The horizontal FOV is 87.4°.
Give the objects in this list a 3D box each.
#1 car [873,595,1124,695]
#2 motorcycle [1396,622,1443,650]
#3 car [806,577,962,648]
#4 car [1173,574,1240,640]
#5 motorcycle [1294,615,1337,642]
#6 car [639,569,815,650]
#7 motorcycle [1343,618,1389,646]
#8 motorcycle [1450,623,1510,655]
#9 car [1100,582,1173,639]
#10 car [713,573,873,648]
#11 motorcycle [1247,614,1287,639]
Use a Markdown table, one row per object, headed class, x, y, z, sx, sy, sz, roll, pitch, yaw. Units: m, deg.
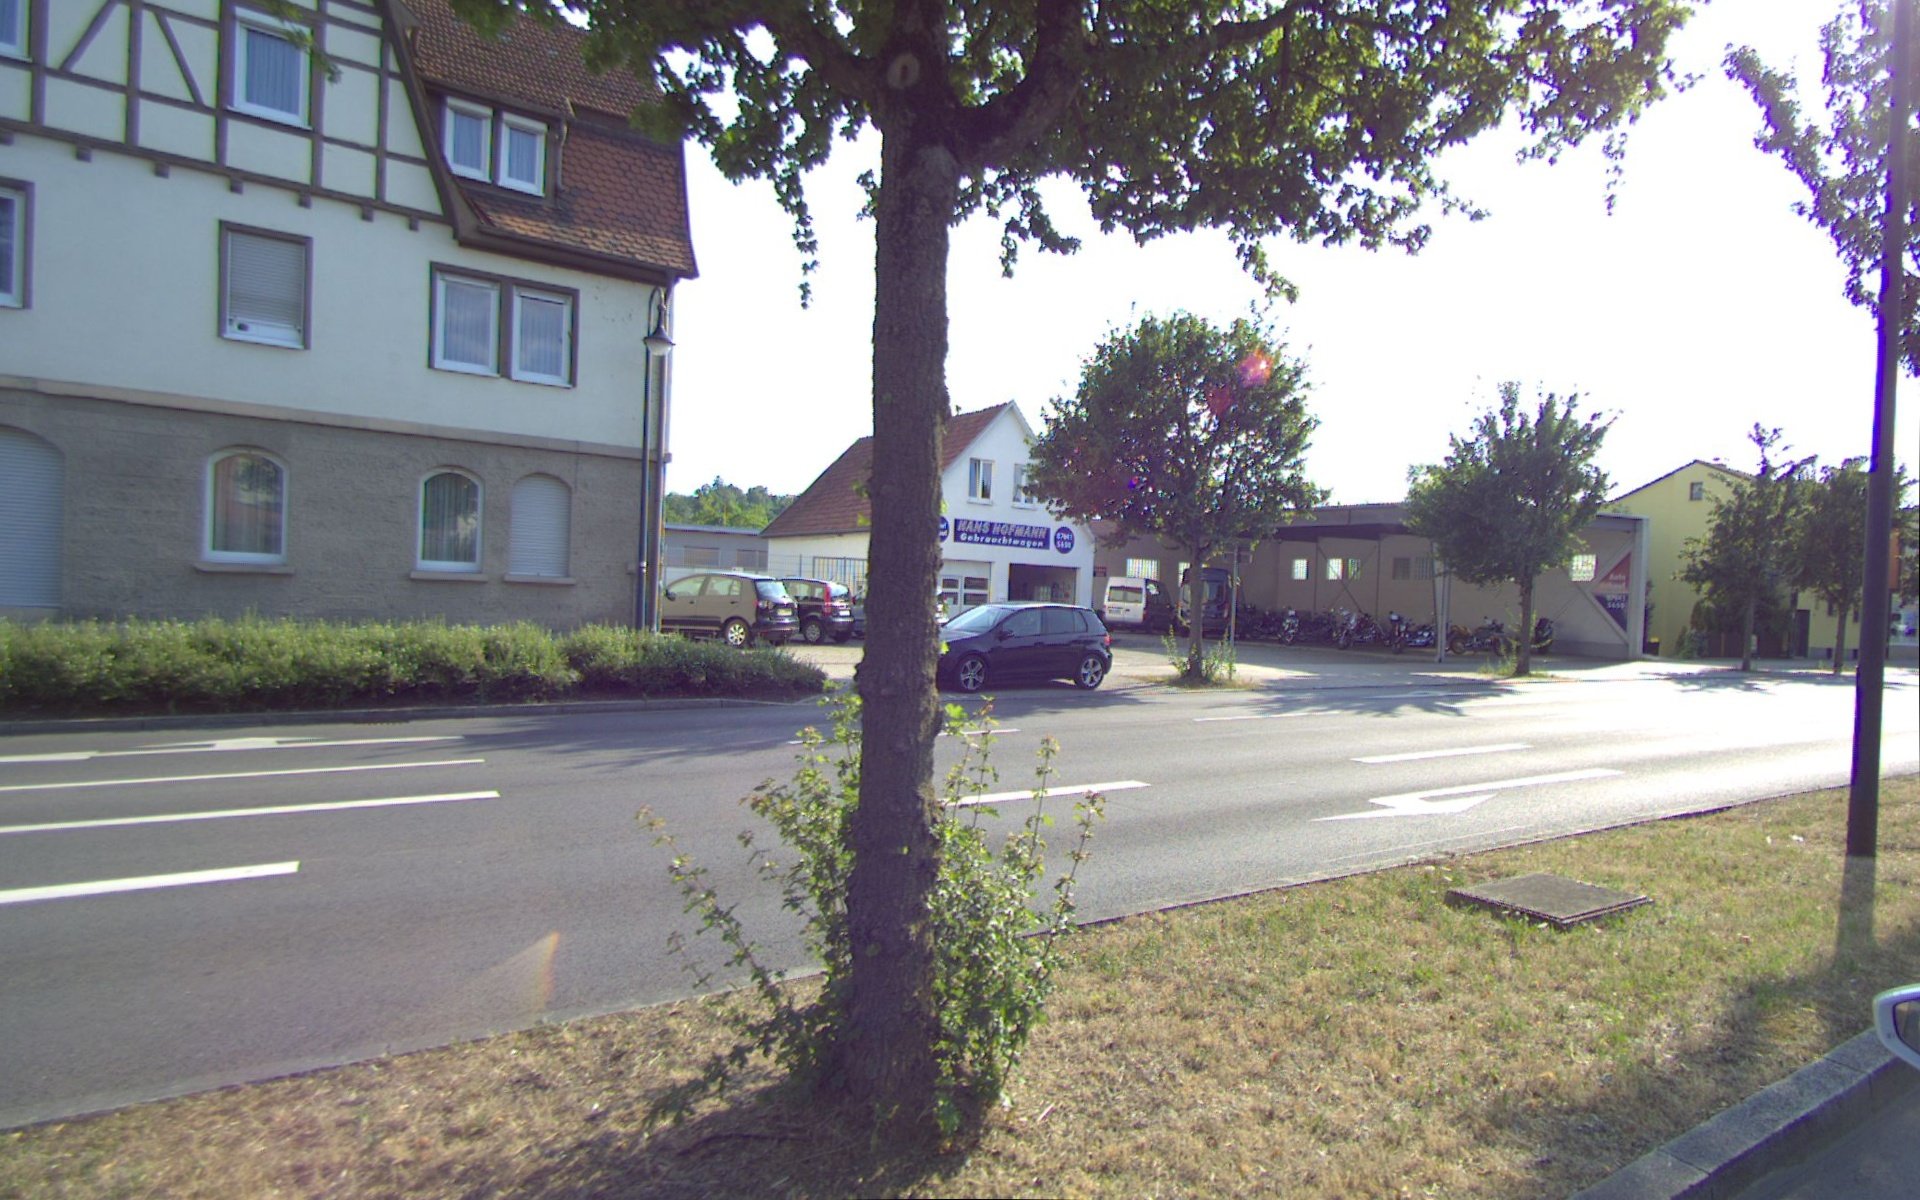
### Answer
| class | x | y | z | sx | sy | sz | roll | pitch | yaw |
| --- | --- | --- | --- | --- | --- | --- | --- | --- | --- |
| car | 0.714 | 0.751 | 17.720 | 4.086 | 1.474 | 1.746 | 1 | 4 | -31 |
| motorcycle | 17.371 | 1.375 | 37.993 | 1.512 | 1.018 | 0.517 | 1 | 0 | -1 |
| car | -2.006 | 0.272 | 26.493 | 3.610 | 1.497 | 1.823 | 5 | 4 | 23 |
| car | 10.032 | 0.194 | 40.632 | 2.003 | 2.367 | 4.318 | 4 | 4 | 20 |
| motorcycle | 15.015 | 1.195 | 42.413 | 1.604 | 1.121 | 0.517 | 1 | 0 | 1 |
| car | -5.231 | 0.178 | 22.417 | 3.618 | 1.548 | 1.819 | 4 | 1 | 34 |
| motorcycle | 16.293 | 1.289 | 40.327 | 1.604 | 1.083 | 0.517 | 1 | 0 | 1 |
| motorcycle | 18.628 | 1.392 | 35.996 | 1.832 | 1.083 | 0.517 | 1 | 0 | 5 |
| car | 7.653 | 0.387 | 43.340 | 2.004 | 2.179 | 4.316 | 5 | 4 | 24 |
| car | -4.141 | 0.198 | 24.787 | 3.619 | 1.497 | 1.818 | 6 | 4 | 34 |
| motorcycle | 13.638 | 1.163 | 44.603 | 1.604 | 1.083 | 0.517 | 1 | 0 | 1 |
